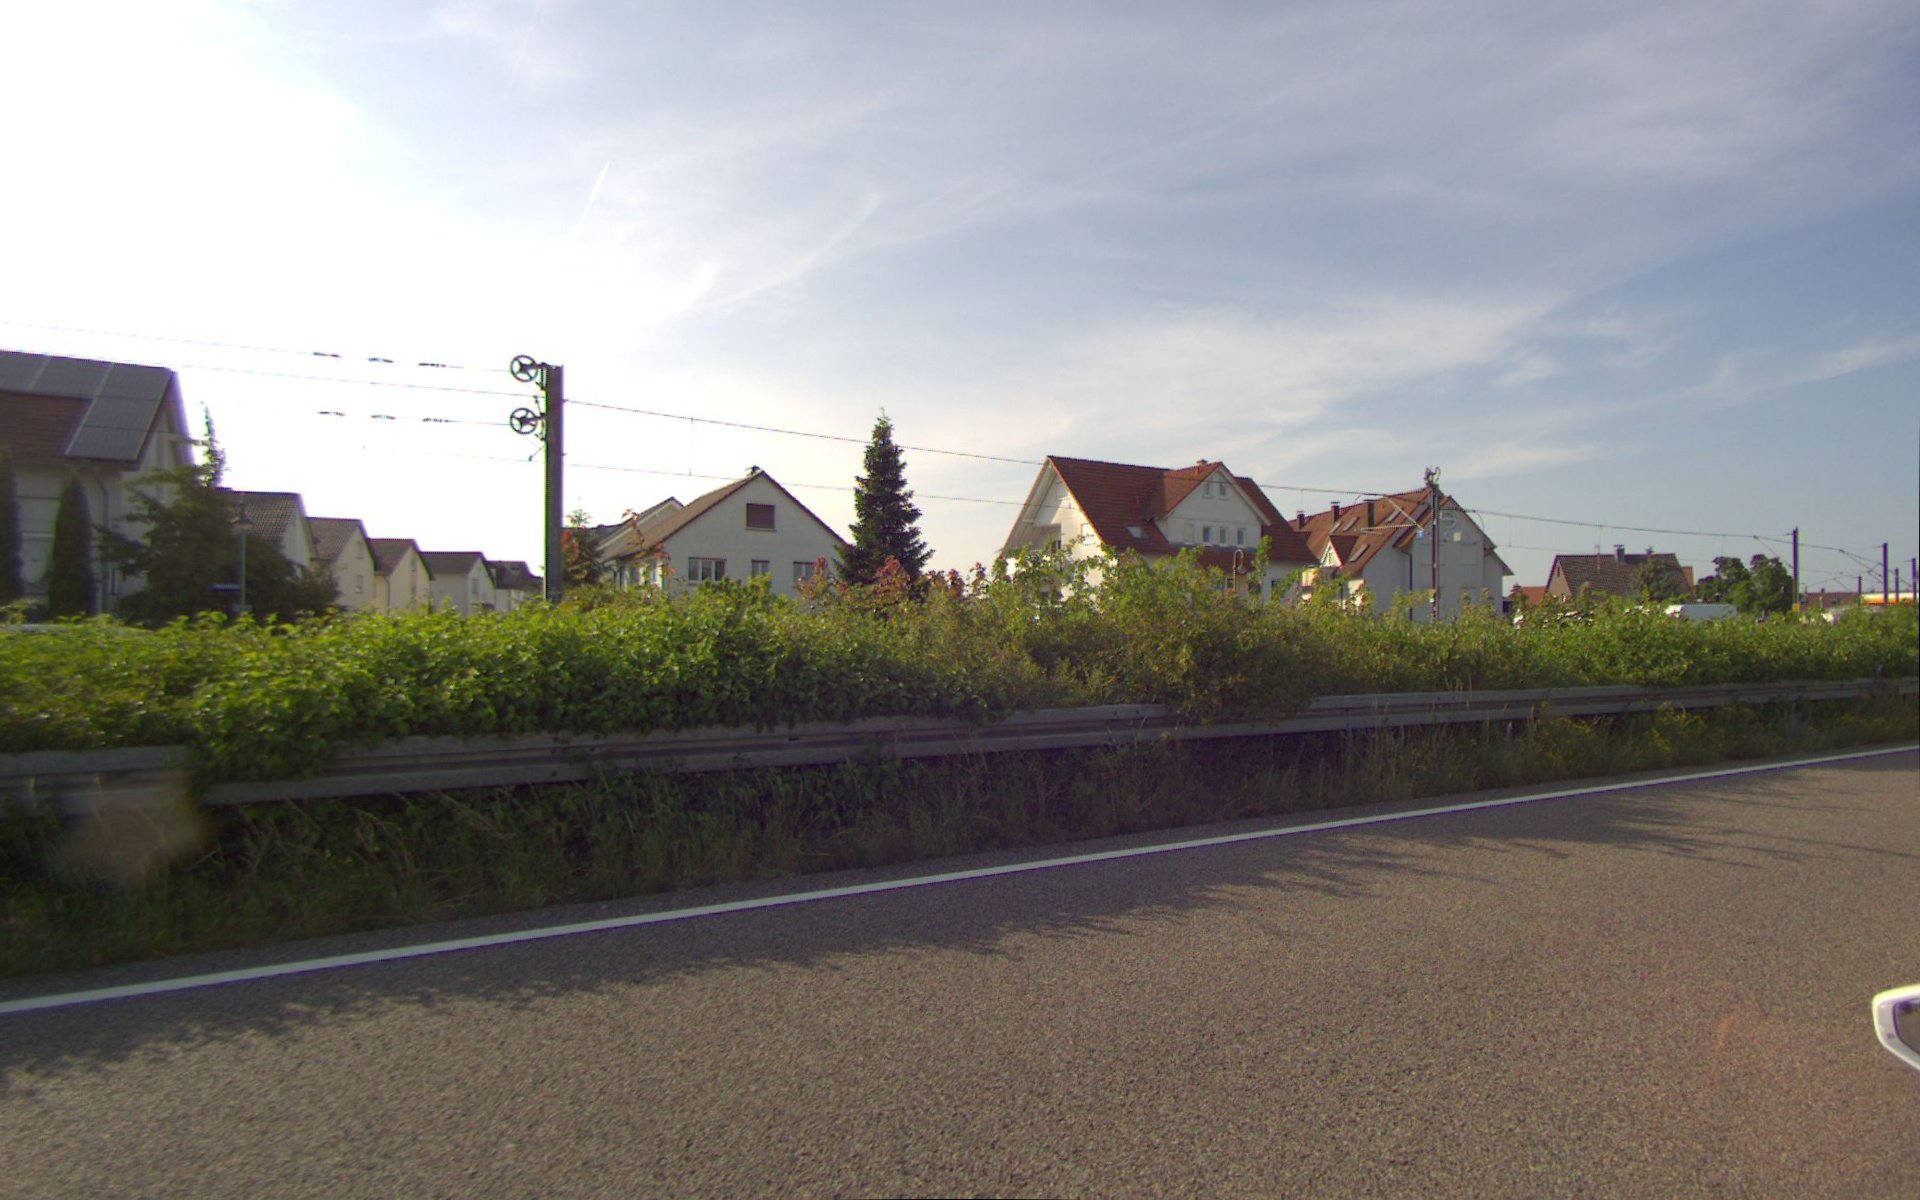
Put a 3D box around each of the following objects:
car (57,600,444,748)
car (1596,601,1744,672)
[{"bbox_3d":[-8.872,0.872,12.972,3.837,1.633,1.707,1,0,-30],"label":"car"},{"bbox_3d":[22.411,1.127,31.654,4.815,2.040,1.984,1,0,-31],"label":"car"}]
